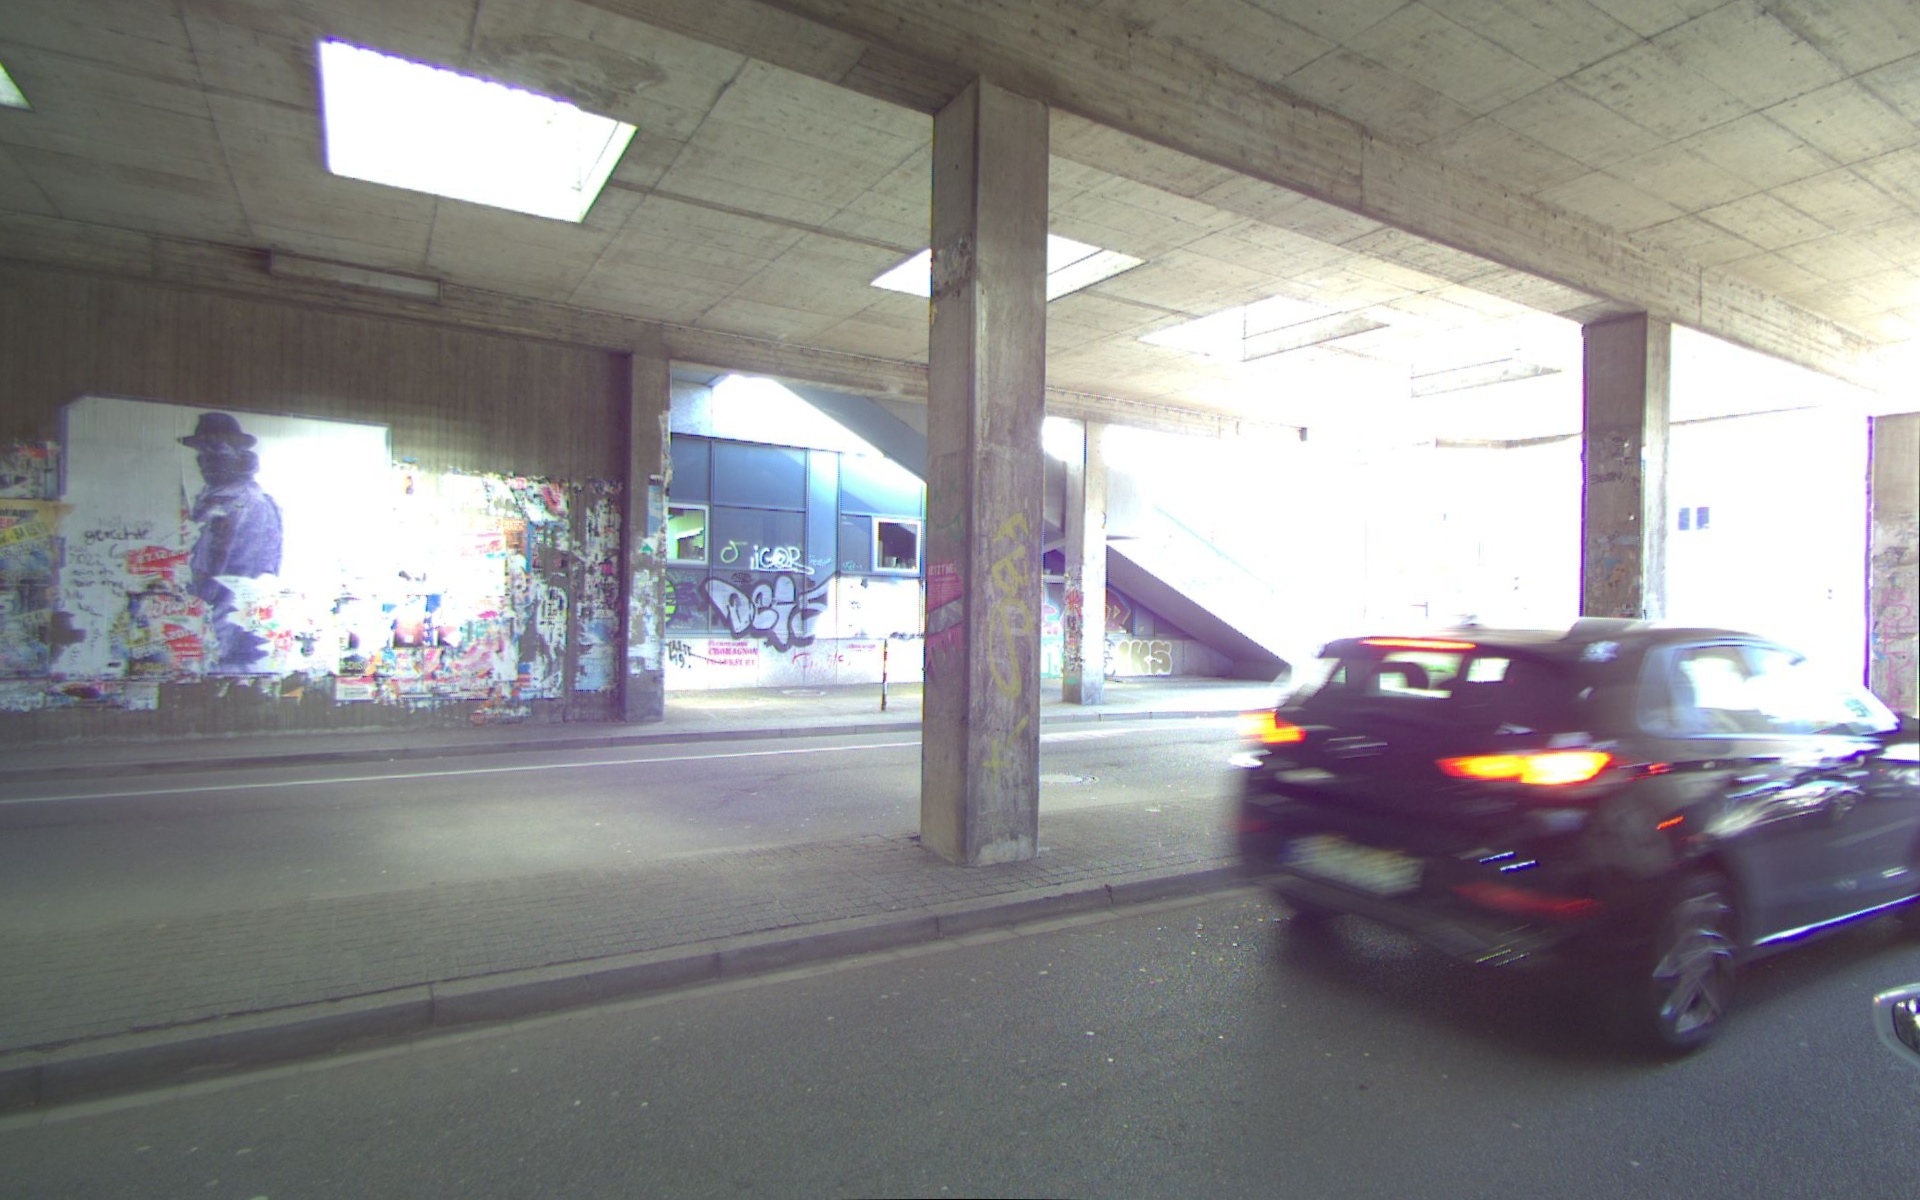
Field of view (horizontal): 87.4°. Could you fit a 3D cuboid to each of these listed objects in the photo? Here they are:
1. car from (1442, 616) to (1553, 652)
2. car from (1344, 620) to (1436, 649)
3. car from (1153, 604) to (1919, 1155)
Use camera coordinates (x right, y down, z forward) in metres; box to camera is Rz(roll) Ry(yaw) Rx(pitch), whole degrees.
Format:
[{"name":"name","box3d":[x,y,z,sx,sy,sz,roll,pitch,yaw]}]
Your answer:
[{"name":"car","box3d":[25.435,1.590,47.668,2.240,1.571,4.111,1,-1,-29]},{"name":"car","box3d":[22.514,1.779,52.679,2.163,1.392,3.971,1,-1,-28]},{"name":"car","box3d":[3.051,0.812,4.603,4.131,1.466,1.770,1,1,-32]}]
